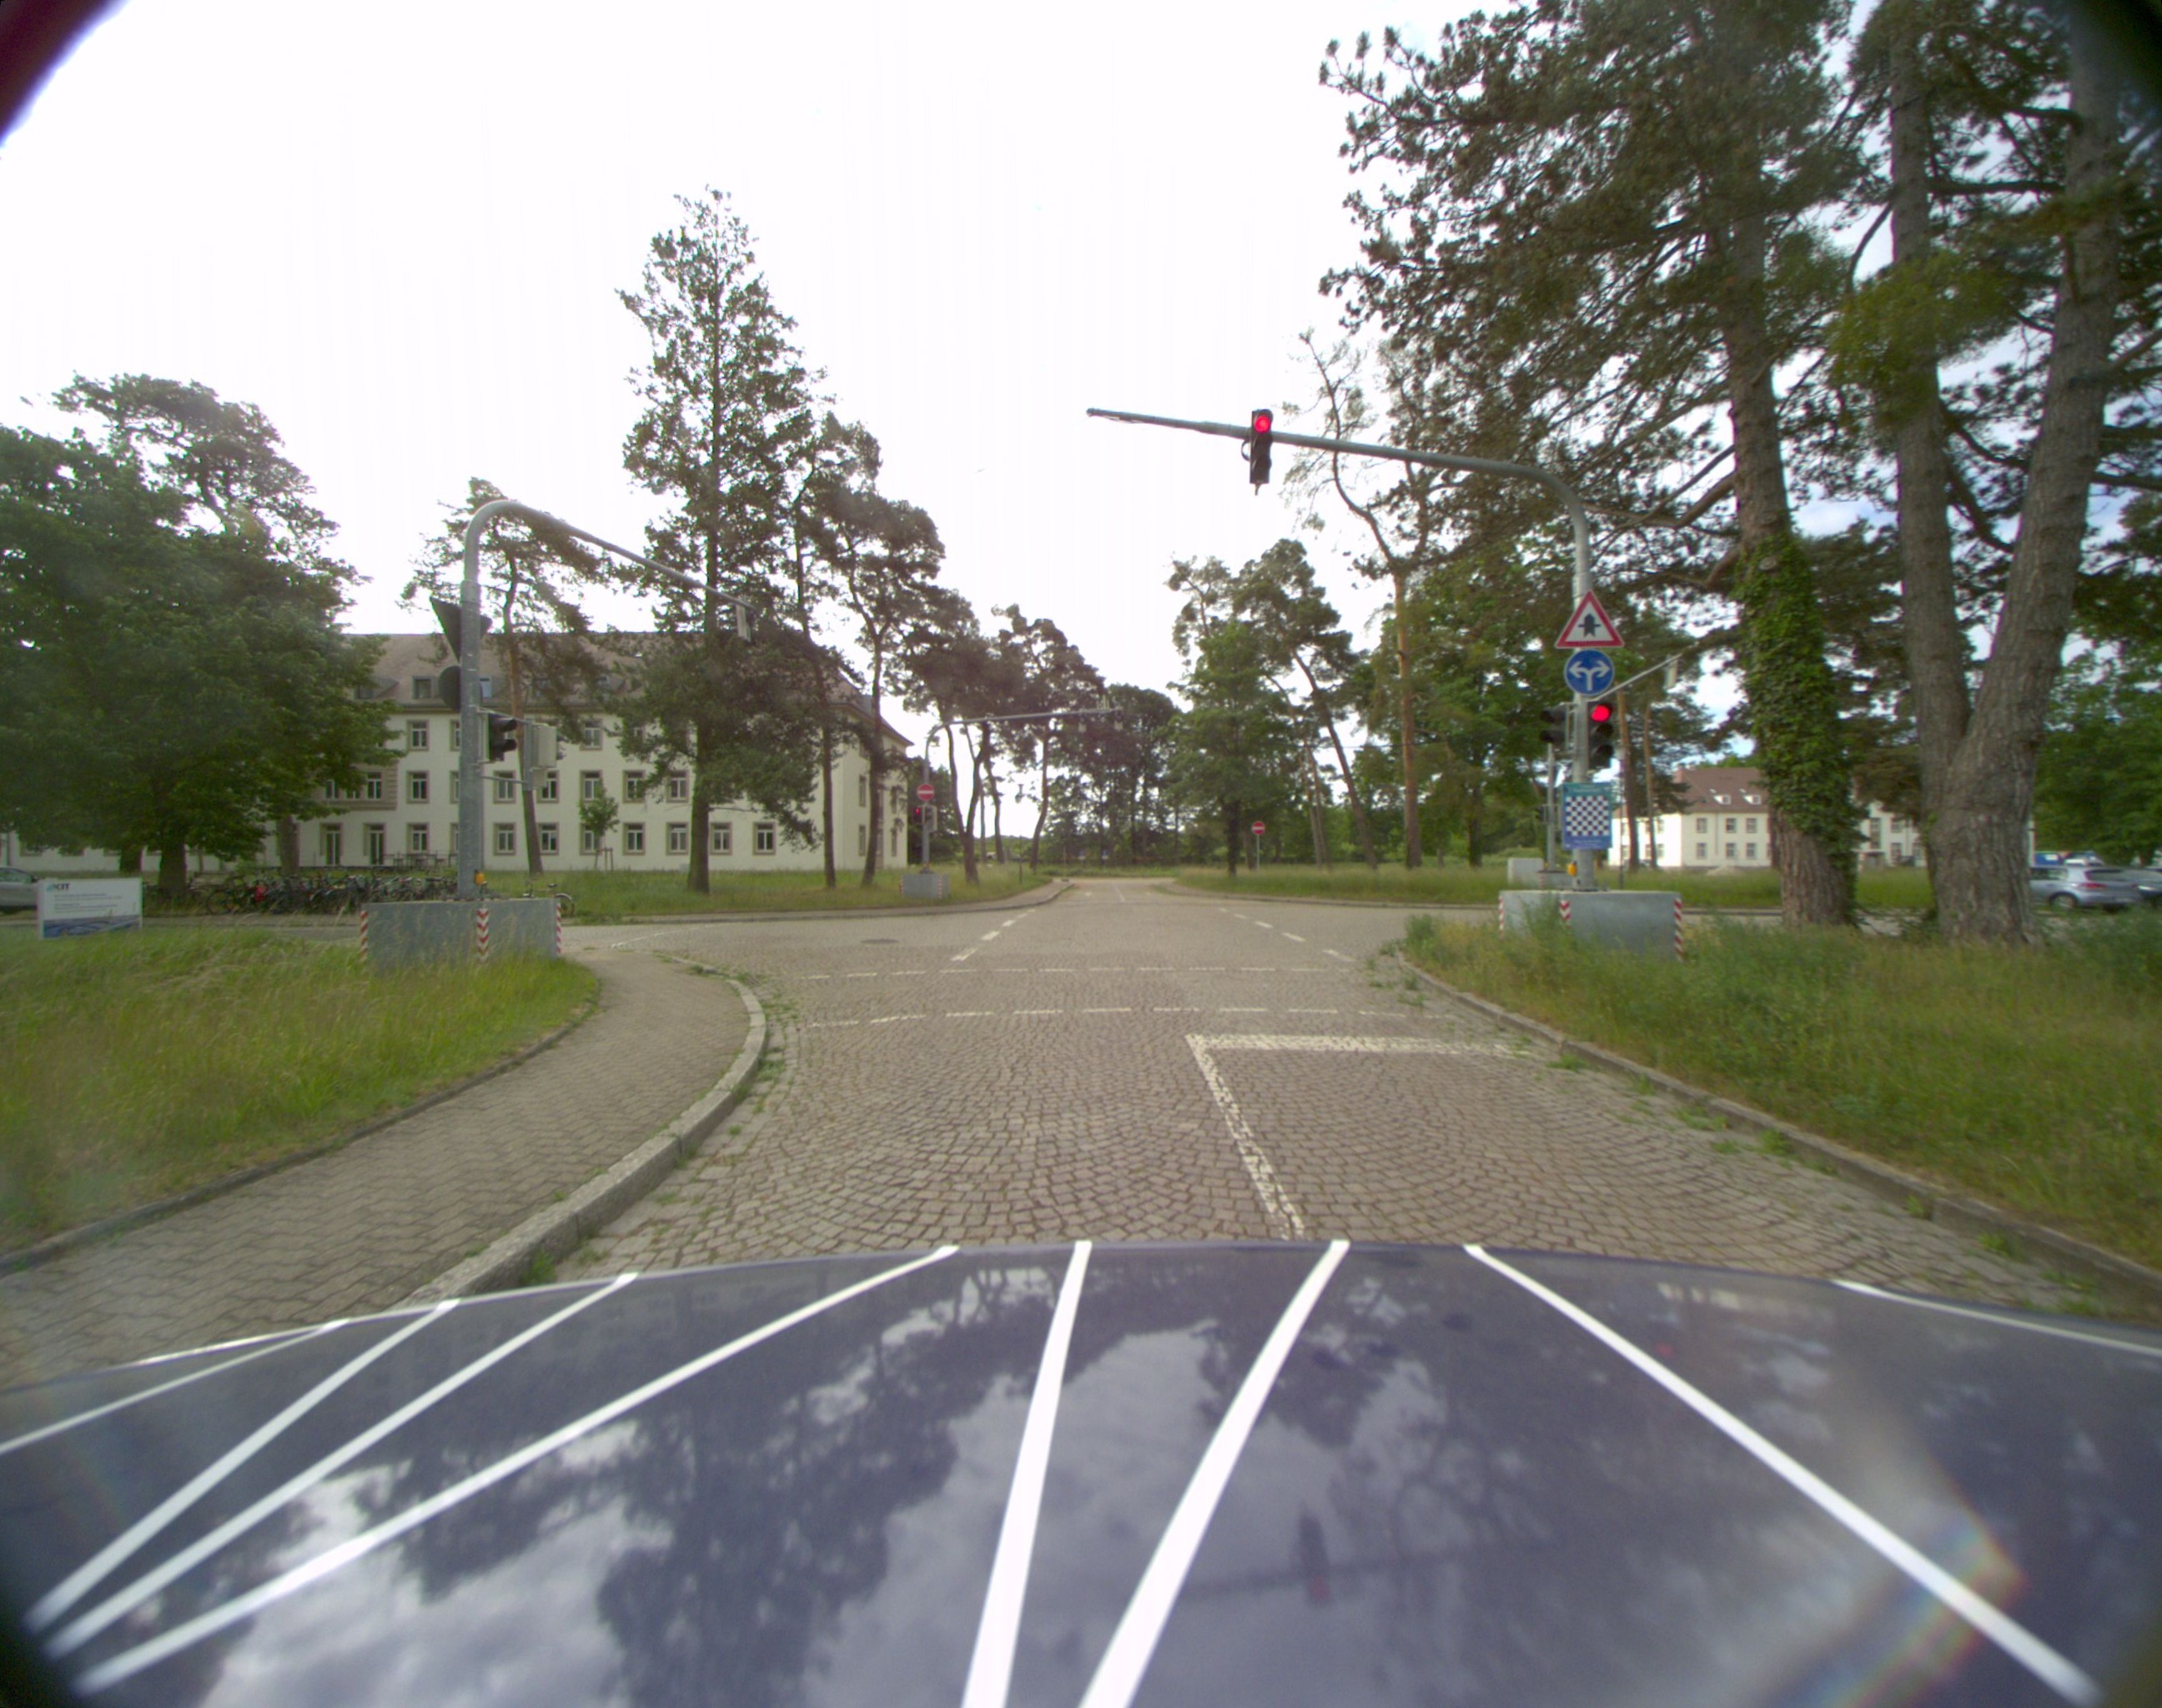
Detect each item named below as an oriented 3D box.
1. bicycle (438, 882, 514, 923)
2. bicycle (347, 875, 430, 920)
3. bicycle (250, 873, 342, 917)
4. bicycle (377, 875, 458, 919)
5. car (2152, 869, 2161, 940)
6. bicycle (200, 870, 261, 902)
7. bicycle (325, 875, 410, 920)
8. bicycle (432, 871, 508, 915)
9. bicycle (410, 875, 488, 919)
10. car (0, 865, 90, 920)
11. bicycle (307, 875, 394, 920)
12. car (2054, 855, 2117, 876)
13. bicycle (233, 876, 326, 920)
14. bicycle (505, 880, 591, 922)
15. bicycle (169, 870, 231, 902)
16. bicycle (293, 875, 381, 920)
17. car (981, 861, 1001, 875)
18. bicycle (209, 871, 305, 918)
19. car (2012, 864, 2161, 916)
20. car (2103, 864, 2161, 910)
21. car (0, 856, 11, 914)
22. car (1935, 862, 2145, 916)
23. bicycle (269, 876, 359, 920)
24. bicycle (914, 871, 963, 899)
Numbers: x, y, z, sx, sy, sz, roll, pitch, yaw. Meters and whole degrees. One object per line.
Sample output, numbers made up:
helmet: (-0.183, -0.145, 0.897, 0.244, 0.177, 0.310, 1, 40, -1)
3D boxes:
bicycle: (-16.581, 1.323, 20.832, 1.675, 1.076, 0.625, -1, -1, 6)
bicycle: (-20.355, 1.246, 22.398, 0.624, 1.240, 1.989, 0, -1, 0)
bicycle: (-23.104, 1.176, 22.425, 0.624, 1.240, 1.989, 0, -1, 0)
bicycle: (-19.496, 1.239, 22.385, 0.624, 1.240, 1.989, 0, -1, 0)
car: (23.485, 0.978, 13.619, 1.865, 1.479, 4.756, 1, -2, 0)
bicycle: (-31.281, 1.171, 27.969, 0.400, 1.118, 1.555, 0, 0, 4)
bicycle: (-20.987, 1.252, 22.414, 0.624, 1.240, 1.989, 0, -1, 0)
bicycle: (-17.943, 1.116, 22.376, 0.624, 1.240, 1.989, 0, -1, 0)
bicycle: (-18.570, 1.231, 22.384, 0.624, 1.240, 1.989, 0, -1, 0)
car: (-32.541, 1.153, 22.941, 1.470, 1.549, 2.857, 1, 0, 2)
bicycle: (-21.512, 1.257, 22.438, 0.624, 1.240, 1.989, 0, -1, 0)
car: (113.488, 1.324, 85.849, 4.443, 2.350, 1.864, -1, -1, 2)
bicycle: (-23.598, 1.274, 22.415, 0.624, 1.240, 1.989, 0, -1, 0)
bicycle: (-14.626, 1.292, 20.868, 1.986, 1.107, 0.624, -1, -1, 5)
bicycle: (-32.508, 1.181, 28.066, 0.400, 1.118, 1.555, 0, 0, 4)
bicycle: (-21.861, 1.259, 22.384, 0.624, 1.240, 1.989, 0, -1, 0)
car: (-9.294, 1.472, 78.411, 1.487, 1.428, 3.197, -1, -1, 3)
bicycle: (-24.258, 1.155, 22.427, 0.624, 1.241, 1.988, 0, 1, 0)
car: (33.435, 1.127, 24.381, 1.662, 1.376, 4.441, 0, 2, 1)
car: (36.172, 1.098, 24.186, 1.715, 1.465, 4.252, 0, 1, 5)
car: (-36.040, 1.038, 22.394, 2.150, 1.905, 5.315, 0, 0, -12)
car: (30.818, 1.066, 24.633, 1.696, 1.421, 4.012, 0, 2, 1)
bicycle: (-22.590, 1.266, 22.438, 0.624, 1.240, 1.989, 0, -1, 0)
bicycle: (-5.289, 1.147, 28.273, 1.675, 0.965, 0.582, 2, 2, 6)
